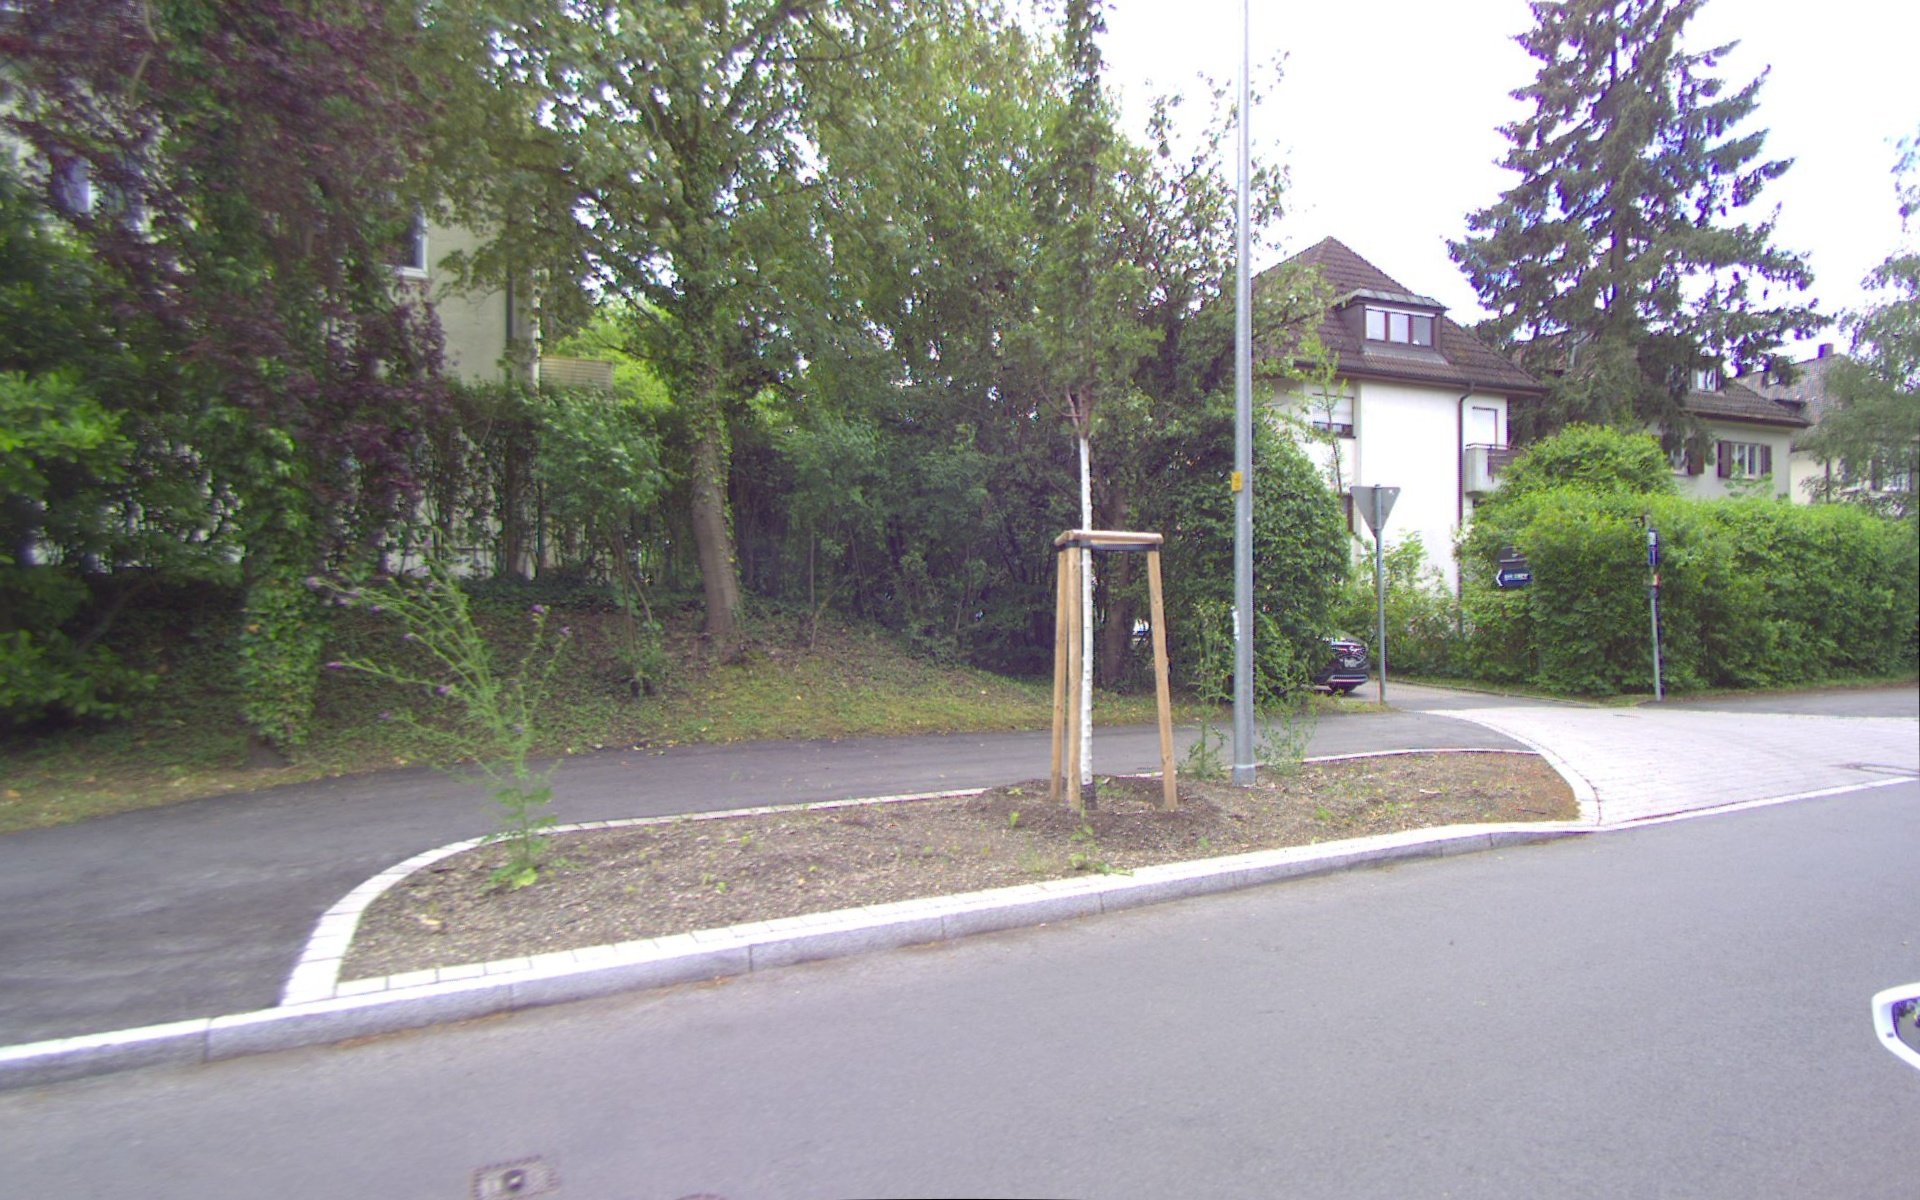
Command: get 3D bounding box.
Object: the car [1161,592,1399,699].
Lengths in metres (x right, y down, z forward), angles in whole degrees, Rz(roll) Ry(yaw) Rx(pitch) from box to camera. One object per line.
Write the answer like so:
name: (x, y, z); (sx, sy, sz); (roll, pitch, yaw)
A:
car: (5.633, 0.731, 18.187); (1.844, 1.614, 3.973); (1, 1, -26)

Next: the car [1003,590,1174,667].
car: (2.864, 0.592, 23.182); (1.847, 1.514, 3.967); (1, 1, -30)
